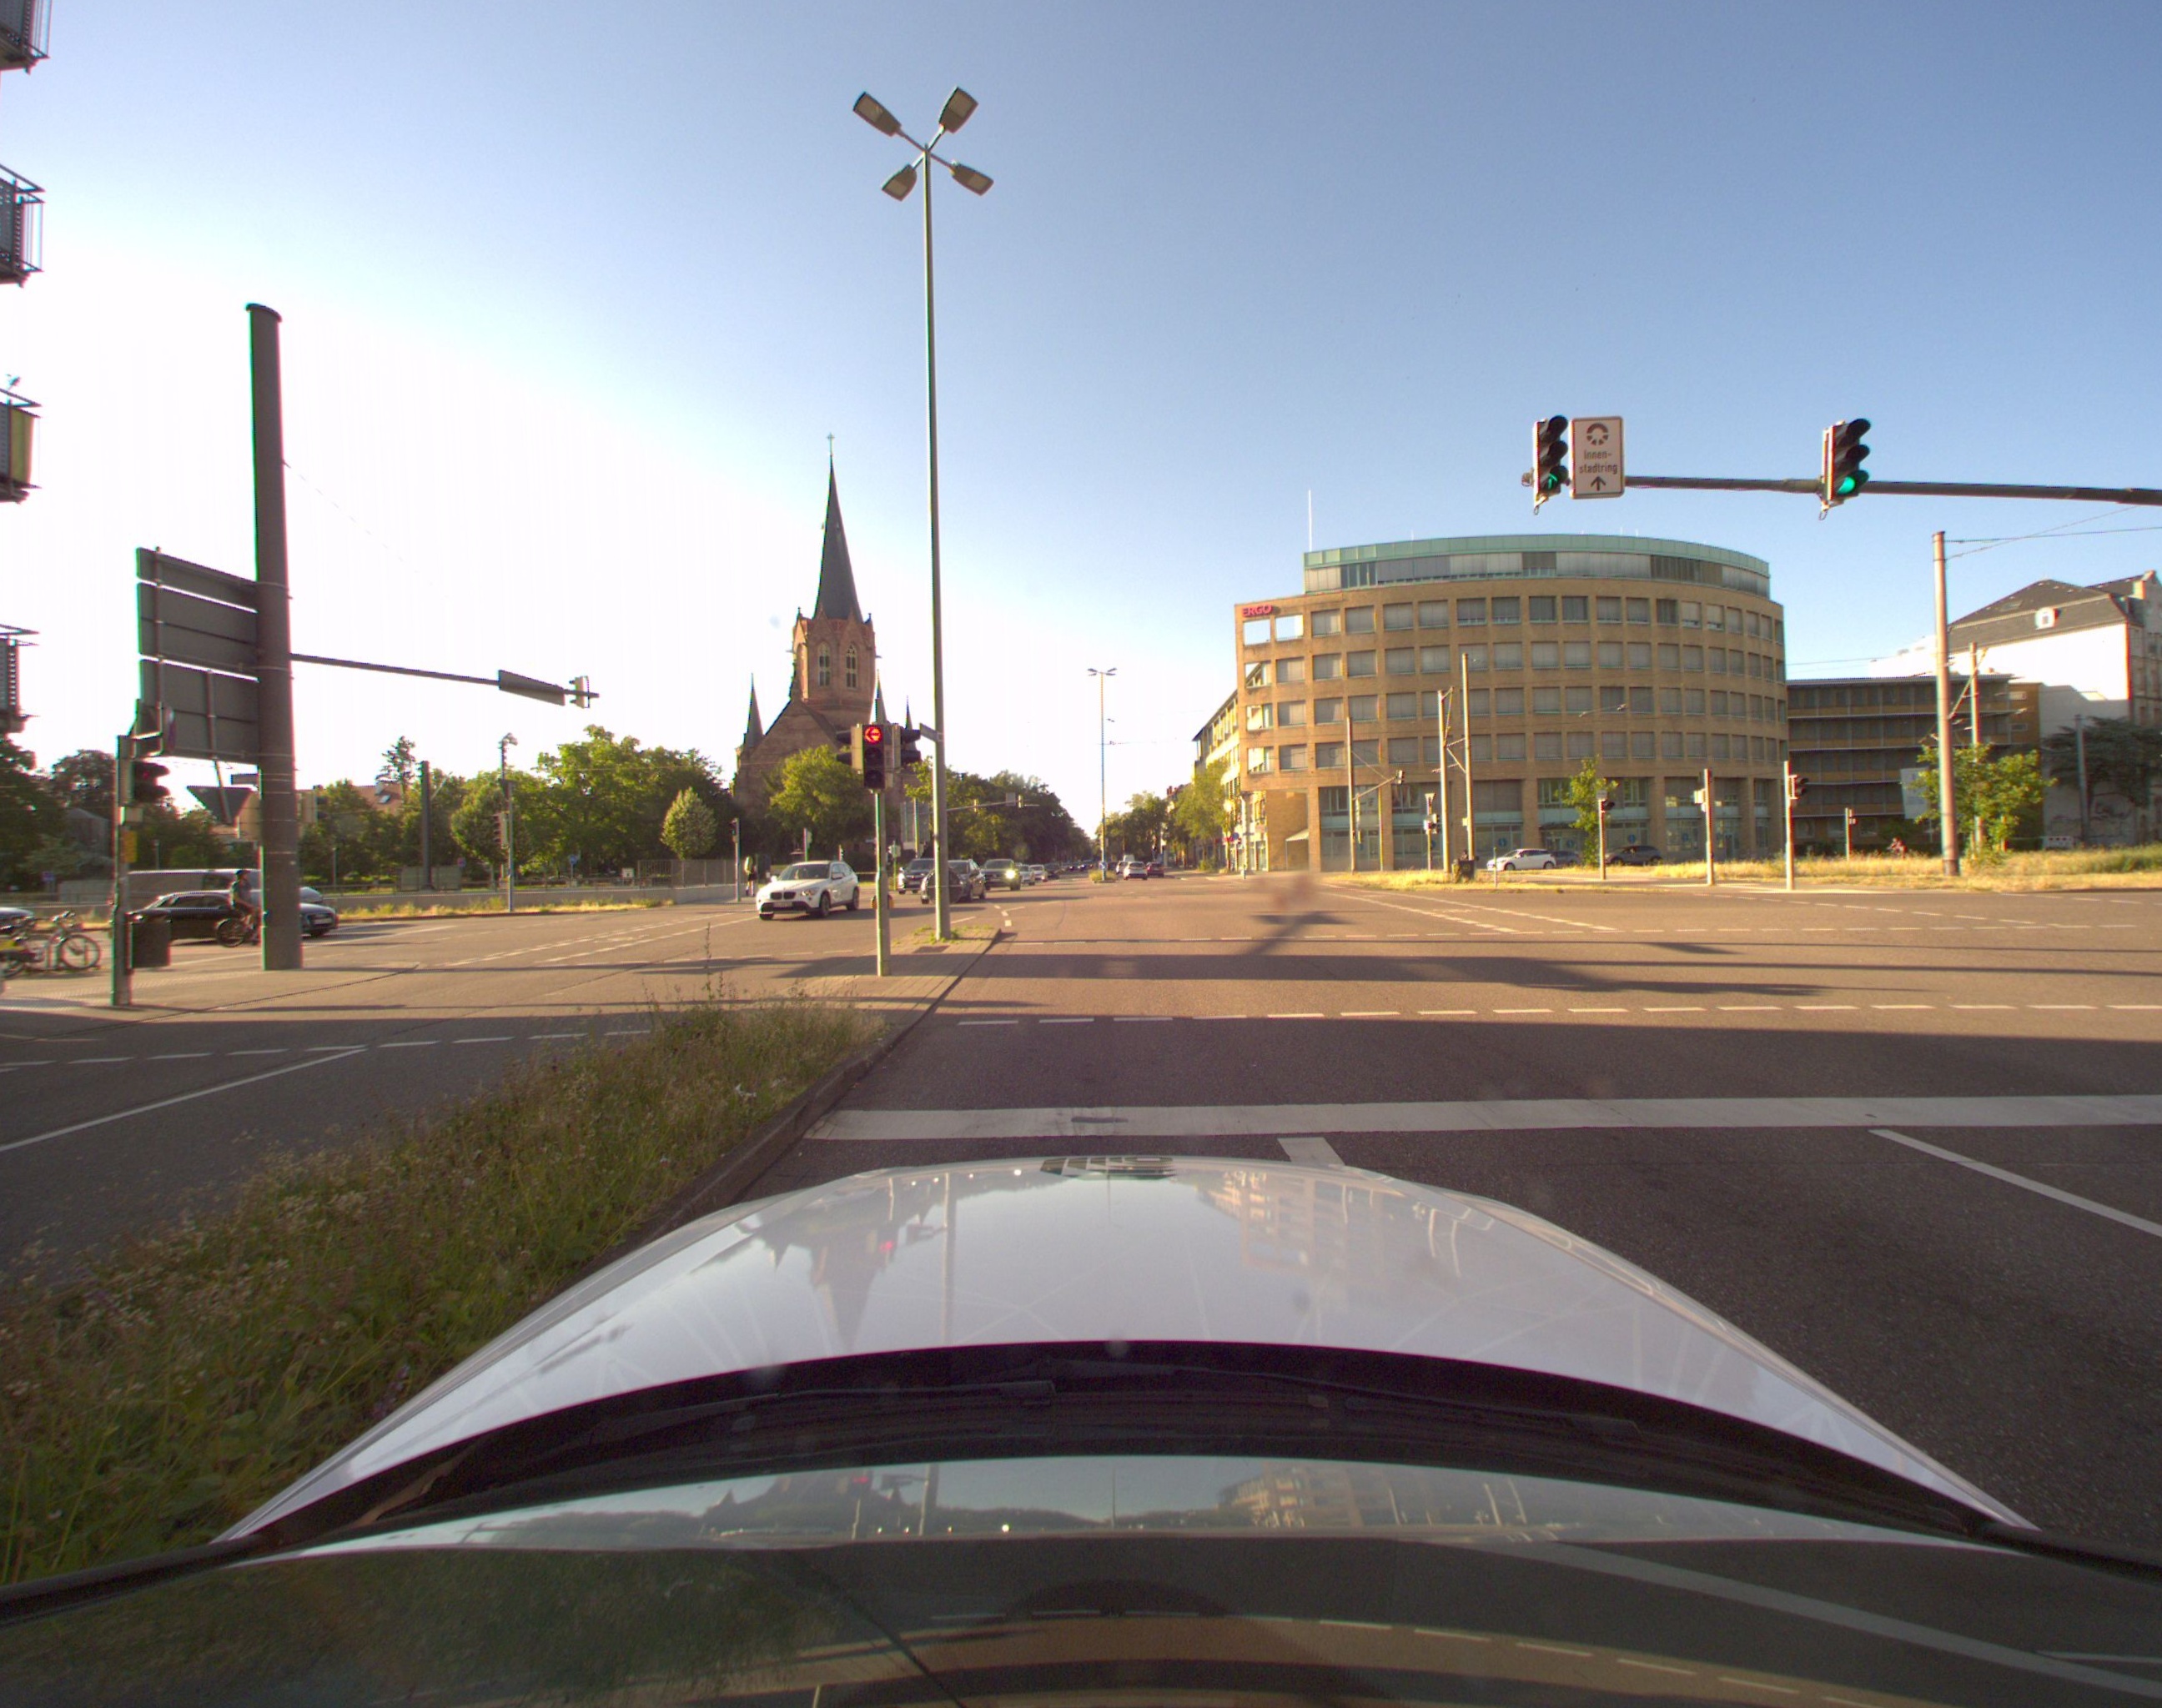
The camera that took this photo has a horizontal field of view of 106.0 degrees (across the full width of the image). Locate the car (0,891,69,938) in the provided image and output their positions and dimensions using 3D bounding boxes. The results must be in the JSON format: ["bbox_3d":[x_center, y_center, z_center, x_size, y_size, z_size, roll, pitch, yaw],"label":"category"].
[{"bbox_3d":[-35.134,1.968,25.753,3.889,1.374,1.800,-2,-1,-1],"label":"car"}]

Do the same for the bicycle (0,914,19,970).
[{"bbox_3d":[-21.166,1.702,14.780,0.732,1.051,2.300,-2,-1,1],"label":"bicycle"}]

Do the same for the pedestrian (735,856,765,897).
[{"bbox_3d":[-14.440,0.978,35.519,0.962,1.739,0.812,-1,-1,-1],"label":"pedestrian"}]

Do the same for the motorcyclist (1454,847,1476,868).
[{"bbox_3d":[26.981,0.218,57.252,1.061,1.435,1.032,-2,-1,0],"label":"motorcyclist"}]

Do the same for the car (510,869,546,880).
[{"bbox_3d":[-92.131,3.382,135.632,4.451,1.571,1.993,-2,-1,-11],"label":"car"}]

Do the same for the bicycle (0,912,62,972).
[{"bbox_3d":[-20.375,1.670,14.812,0.732,1.051,2.300,-2,-1,1],"label":"bicycle"}]

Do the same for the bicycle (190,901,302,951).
[{"bbox_3d":[-20.841,1.786,20.367,1.770,1.097,0.952,-3,0,1],"label":"bicycle"}]

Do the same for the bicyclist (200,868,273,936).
[{"bbox_3d":[-21.092,1.183,20.366,0.733,1.598,0.963,-3,0,1],"label":"bicyclist"}]

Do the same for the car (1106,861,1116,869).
[{"bbox_3d":[5.218,1.873,142.637,1.589,1.267,3.268,-2,0,2],"label":"car"}]

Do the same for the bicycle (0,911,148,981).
[{"bbox_3d":[-18.757,1.647,14.873,0.732,1.051,2.300,-2,0,1],"label":"bicycle"}]

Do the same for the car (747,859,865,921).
[{"bbox_3d":[-7.691,0.945,23.217,1.746,1.488,4.250,-3,0,2],"label":"car"}]

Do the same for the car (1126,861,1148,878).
[{"bbox_3d":[4.457,1.251,65.060,1.589,1.267,3.268,-2,0,2],"label":"car"}]

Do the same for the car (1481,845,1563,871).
[{"bbox_3d":[28.224,0.274,52.200,4.150,1.492,1.994,-2,-1,-1],"label":"car"}]

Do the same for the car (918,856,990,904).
[{"bbox_3d":[-4.364,0.862,28.530,1.585,1.471,3.989,-3,0,3],"label":"car"}]

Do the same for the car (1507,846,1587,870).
[{"bbox_3d":[32.699,0.319,57.236,4.465,1.537,1.987,-2,-1,2],"label":"car"}]

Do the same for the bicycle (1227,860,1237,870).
[{"bbox_3d":[15.004,1.100,81.056,0.644,0.994,2.081,-2,-1,1],"label":"bicycle"}]

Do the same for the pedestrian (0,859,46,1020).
[{"bbox_3d":[-12.968,1.006,9.532,0.606,1.875,0.812,1,0,2],"label":"pedestrian"}]

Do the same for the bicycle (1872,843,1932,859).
[{"bbox_3d":[56.012,-0.204,55.605,2.951,1.000,1.154,-2,-1,-1],"label":"bicycle"}]

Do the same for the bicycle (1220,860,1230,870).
[{"bbox_3d":[15.095,1.133,85.445,0.644,0.994,2.081,-2,-1,1],"label":"bicycle"}]

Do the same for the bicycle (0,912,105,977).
[{"bbox_3d":[-19.563,1.668,14.849,0.732,1.051,2.300,-2,-1,1],"label":"bicycle"}]

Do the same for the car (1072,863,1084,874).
[{"bbox_3d":[-0.547,2.533,141.976,1.987,1.724,4.593,-2,-1,1],"label":"car"}]

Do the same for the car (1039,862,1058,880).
[{"bbox_3d":[-3.107,1.615,78.835,1.572,1.544,3.478,-3,0,1],"label":"car"}]

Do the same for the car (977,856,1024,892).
[{"bbox_3d":[-3.866,0.923,39.848,1.669,1.544,4.104,-3,0,2],"label":"car"}]

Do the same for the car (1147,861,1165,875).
[{"bbox_3d":[7.354,1.350,79.881,1.589,1.267,3.268,-2,0,2],"label":"car"}]

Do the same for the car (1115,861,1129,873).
[{"bbox_3d":[4.658,1.475,93.066,1.589,1.267,3.268,-2,0,2],"label":"car"}]

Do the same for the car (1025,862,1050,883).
[{"bbox_3d":[-3.605,1.534,67.565,1.669,1.544,3.807,-3,0,1],"label":"car"}]

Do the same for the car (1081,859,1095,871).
[{"bbox_3d":[1.120,1.785,128.917,1.987,1.724,5.031,-2,-1,1],"label":"car"}]

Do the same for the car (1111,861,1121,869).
[{"bbox_3d":[5.541,1.767,130.104,1.589,1.267,3.268,-2,0,2],"label":"car"}]

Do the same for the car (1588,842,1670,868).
[{"bbox_3d":[35.103,0.080,52.210,4.038,1.492,1.820,-2,-1,0],"label":"car"}]

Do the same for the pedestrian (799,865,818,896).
[{"bbox_3d":[-15.393,1.472,45.984,0.841,1.696,1.014,0,-1,-8],"label":"pedestrian"}]

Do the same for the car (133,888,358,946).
[{"bbox_3d":[-22.682,1.688,22.235,4.175,1.312,1.800,-2,-1,-1],"label":"car"}]

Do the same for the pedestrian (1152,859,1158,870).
[{"bbox_3d":[12.000,1.672,131.440,0.844,1.803,0.776,-2,0,1],"label":"pedestrian"}]

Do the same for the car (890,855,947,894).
[{"bbox_3d":[-7.526,0.929,38.158,1.714,1.628,4.102,-3,0,0],"label":"car"}]

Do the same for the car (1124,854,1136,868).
[{"bbox_3d":[8.795,1.255,145.669,1.986,2.440,4.001,0,-1,2],"label":"car"}]

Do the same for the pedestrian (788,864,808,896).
[{"bbox_3d":[-15.007,1.366,43.161,0.704,1.696,0.897,0,-1,5],"label":"pedestrian"}]

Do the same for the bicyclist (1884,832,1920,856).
[{"bbox_3d":[56.045,-0.693,55.608,1.219,1.572,1.154,-2,-1,-1],"label":"bicyclist"}]

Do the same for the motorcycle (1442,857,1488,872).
[{"bbox_3d":[26.980,0.706,57.243,2.709,0.964,1.032,-2,-1,0],"label":"motorcycle"}]

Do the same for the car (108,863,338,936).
[{"bbox_3d":[-26.660,1.375,25.439,4.908,2.014,1.999,-2,-1,-1],"label":"car"}]

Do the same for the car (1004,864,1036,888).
[{"bbox_3d":[-4.068,1.461,54.801,1.702,1.425,4.103,-3,0,1],"label":"car"}]
